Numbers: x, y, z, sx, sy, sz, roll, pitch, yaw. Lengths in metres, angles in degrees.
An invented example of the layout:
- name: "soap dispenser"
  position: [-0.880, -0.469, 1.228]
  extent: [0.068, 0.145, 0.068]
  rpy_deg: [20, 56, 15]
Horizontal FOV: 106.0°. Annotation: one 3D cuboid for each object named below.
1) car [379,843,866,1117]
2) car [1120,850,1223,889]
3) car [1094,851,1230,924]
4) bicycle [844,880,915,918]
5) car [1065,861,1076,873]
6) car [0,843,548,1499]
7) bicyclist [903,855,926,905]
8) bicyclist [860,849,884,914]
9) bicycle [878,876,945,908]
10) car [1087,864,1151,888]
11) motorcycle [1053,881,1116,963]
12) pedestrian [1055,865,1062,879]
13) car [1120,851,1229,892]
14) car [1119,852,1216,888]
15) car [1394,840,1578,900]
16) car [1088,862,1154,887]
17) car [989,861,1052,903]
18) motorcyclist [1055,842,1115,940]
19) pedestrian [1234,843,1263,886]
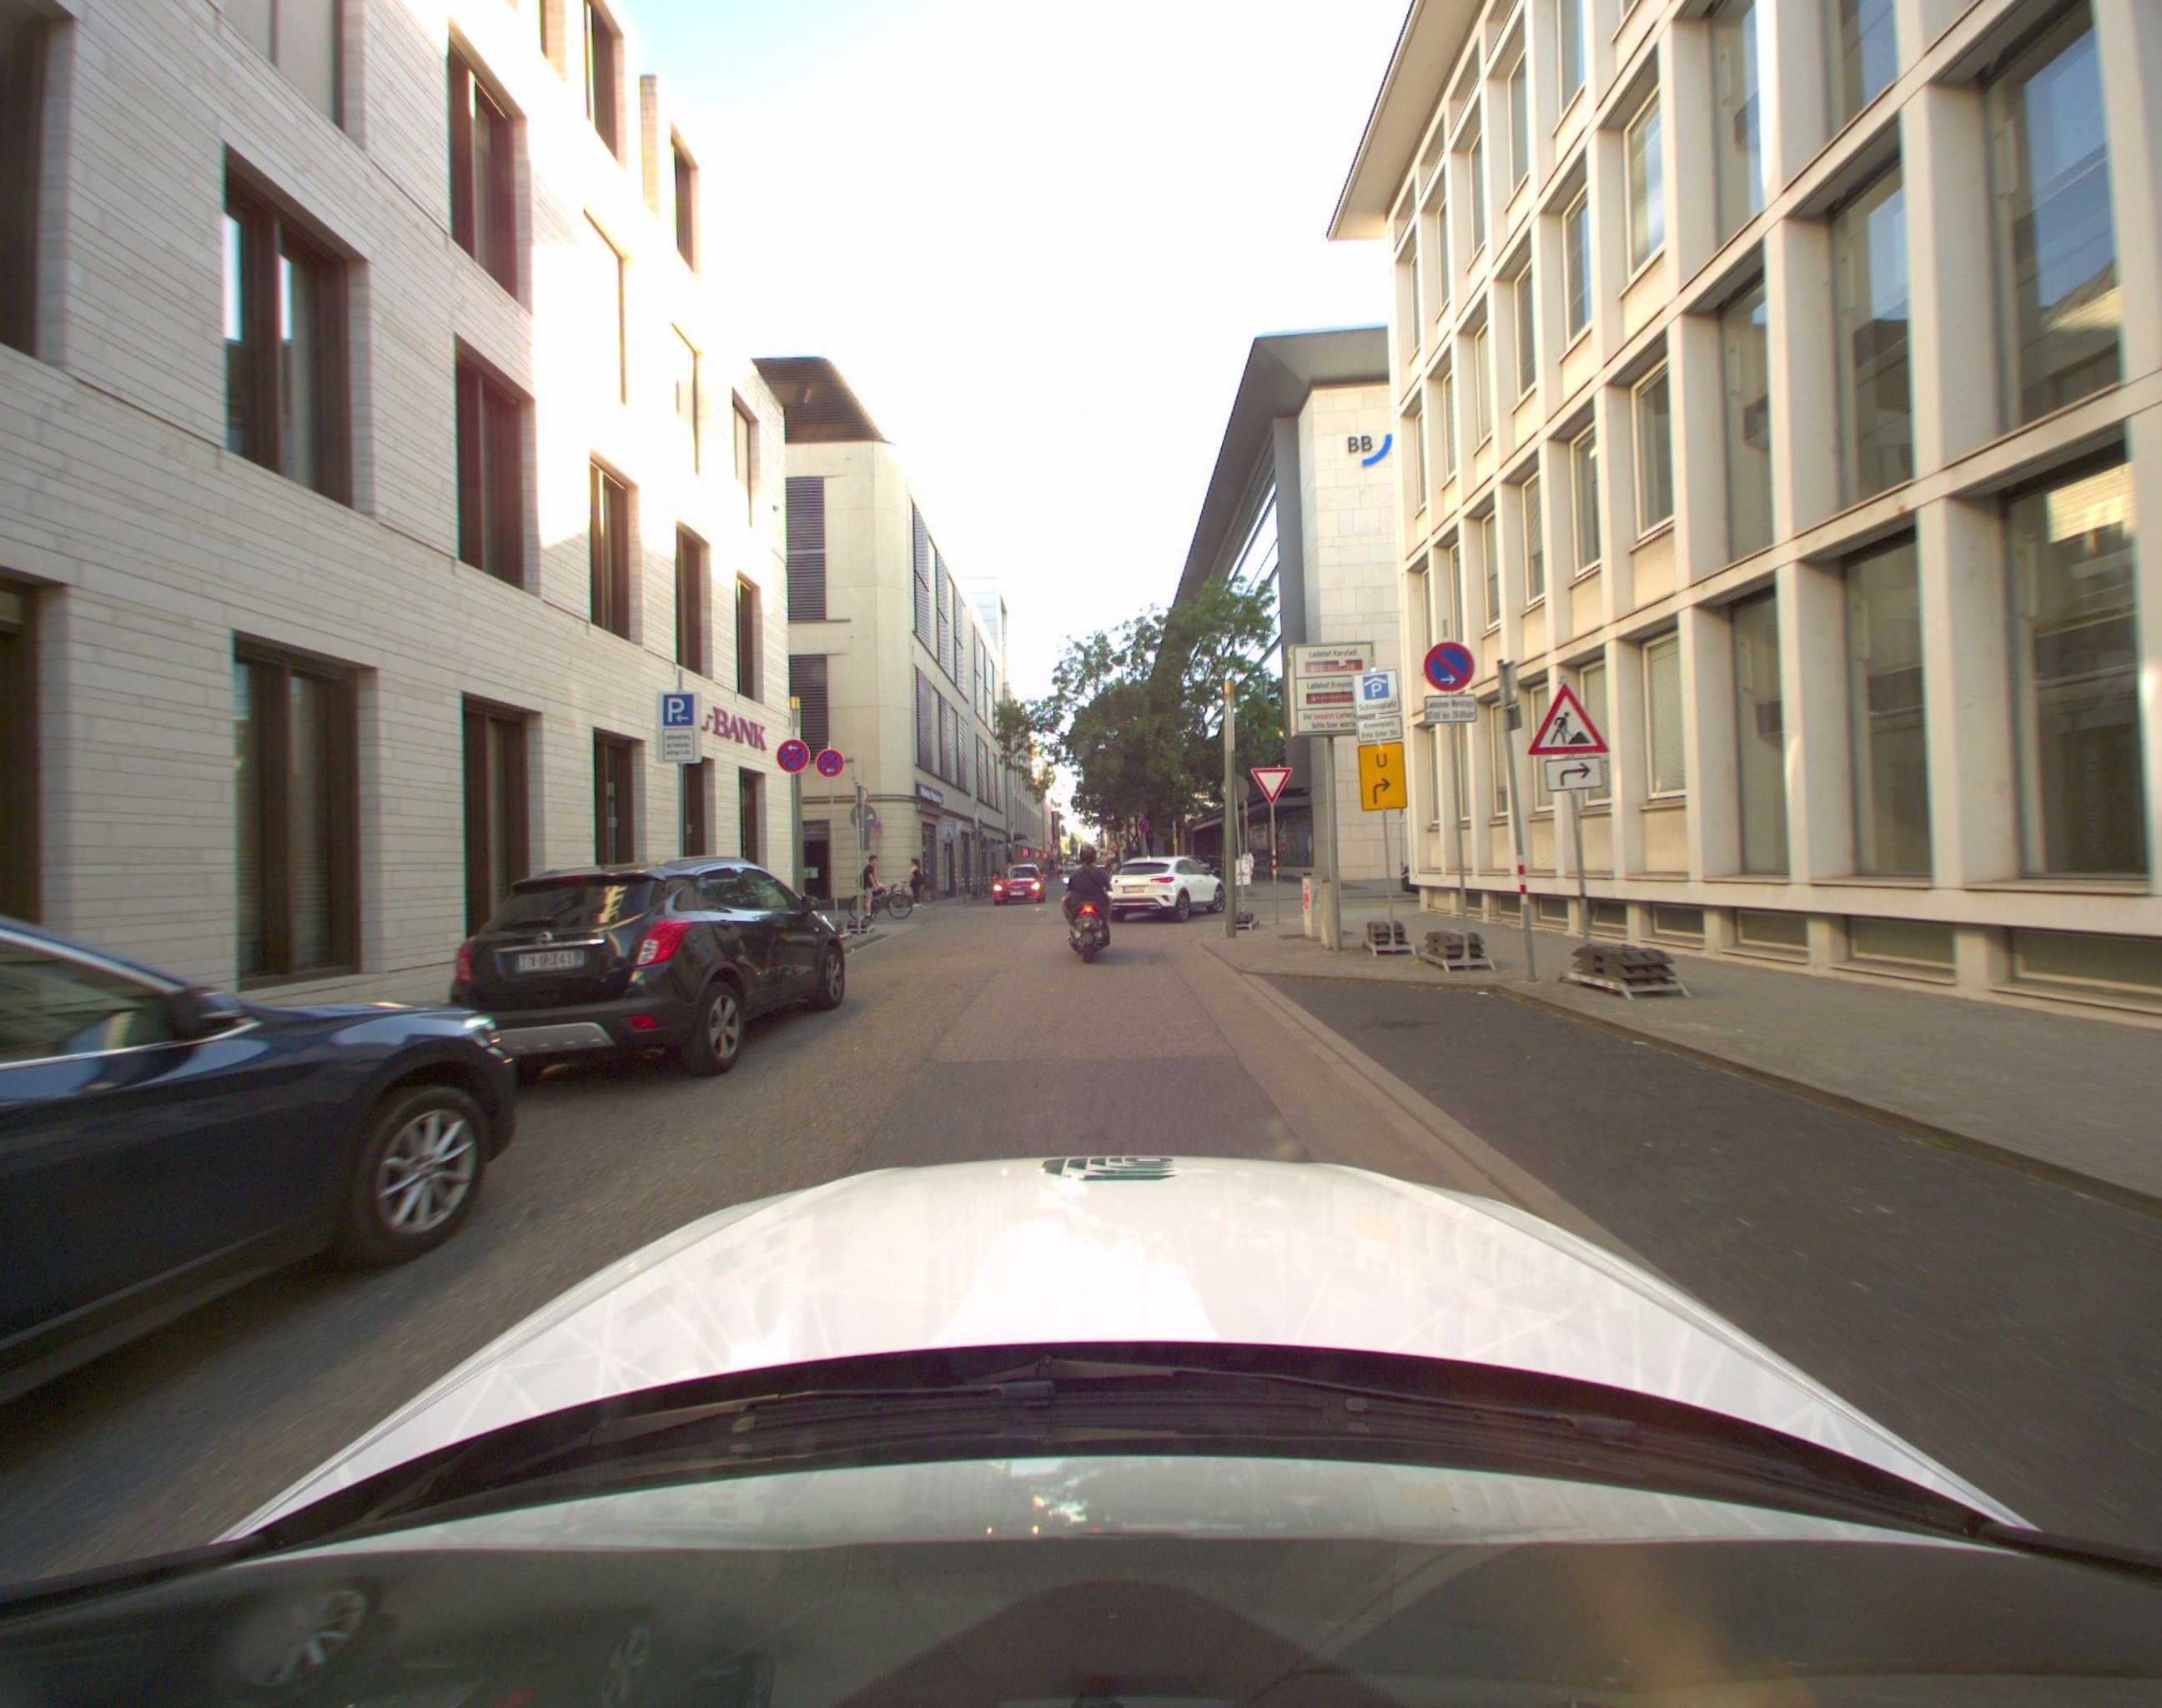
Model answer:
- name: "car"
  position: [-3.566, 0.822, 7.450]
  extent: [1.815, 1.677, 4.265]
  rpy_deg: [-4, 0, 2]
- name: "car"
  position: [4.646, 0.814, 42.342]
  extent: [4.991, 1.499, 1.998]
  rpy_deg: [-5, -1, -2]
- name: "car"
  position: [2.107, 0.731, 19.912]
  extent: [1.805, 1.541, 4.289]
  rpy_deg: [-2, 0, 27]
- name: "bicycle"
  position: [-5.441, 1.218, 22.077]
  extent: [1.813, 0.974, 0.510]
  rpy_deg: [-1, -2, -8]
- name: "car"
  position: [-1.946, 2.409, 152.565]
  extent: [1.988, 2.329, 5.017]
  rpy_deg: [0, -1, -1]
- name: "car"
  position: [-3.536, 0.826, 1.909]
  extent: [1.734, 1.594, 4.153]
  rpy_deg: [-4, 0, 0]
- name: "bicyclist"
  position: [-5.556, 0.863, 27.175]
  extent: [0.627, 1.625, 0.499]
  rpy_deg: [-1, -2, 5]
- name: "bicyclist"
  position: [-5.662, 0.743, 22.061]
  extent: [0.549, 1.732, 0.500]
  rpy_deg: [-1, -2, -8]
- name: "bicycle"
  position: [-5.650, 1.266, 27.187]
  extent: [2.091, 0.995, 0.519]
  rpy_deg: [-1, -2, 6]
- name: "car"
  position: [3.057, 1.790, 66.821]
  extent: [4.991, 1.499, 1.998]
  rpy_deg: [-5, -1, -2]
- name: "motorcycle"
  position: [0.083, 0.977, 12.311]
  extent: [0.869, 1.109, 1.840]
  rpy_deg: [-1, -1, 2]
- name: "pedestrian"
  position: [-2.582, 2.050, 92.514]
  extent: [0.729, 1.574, 0.636]
  rpy_deg: [-1, -2, 1]
- name: "car"
  position: [4.509, 0.858, 39.915]
  extent: [4.991, 1.452, 1.998]
  rpy_deg: [-5, -1, -2]
- name: "car"
  position: [4.701, 0.893, 44.842]
  extent: [4.991, 1.499, 1.998]
  rpy_deg: [-5, -1, -2]
- name: "car"
  position: [11.321, 0.440, 23.061]
  extent: [4.321, 1.541, 1.834]
  rpy_deg: [-2, 1, 11]
- name: "car"
  position: [3.118, 1.619, 64.239]
  extent: [4.991, 1.499, 1.998]
  rpy_deg: [-5, -1, -2]
- name: "car"
  position: [-2.223, 1.081, 31.123]
  extent: [1.815, 1.465, 4.266]
  rpy_deg: [-2, -2, 3]
- name: "motorcyclist"
  position: [0.073, 0.548, 12.277]
  extent: [0.864, 1.427, 0.456]
  rpy_deg: [-1, -2, 1]
- name: "pedestrian"
  position: [6.906, 0.432, 33.551]
  extent: [0.902, 1.706, 0.835]
  rpy_deg: [-5, -2, 2]
